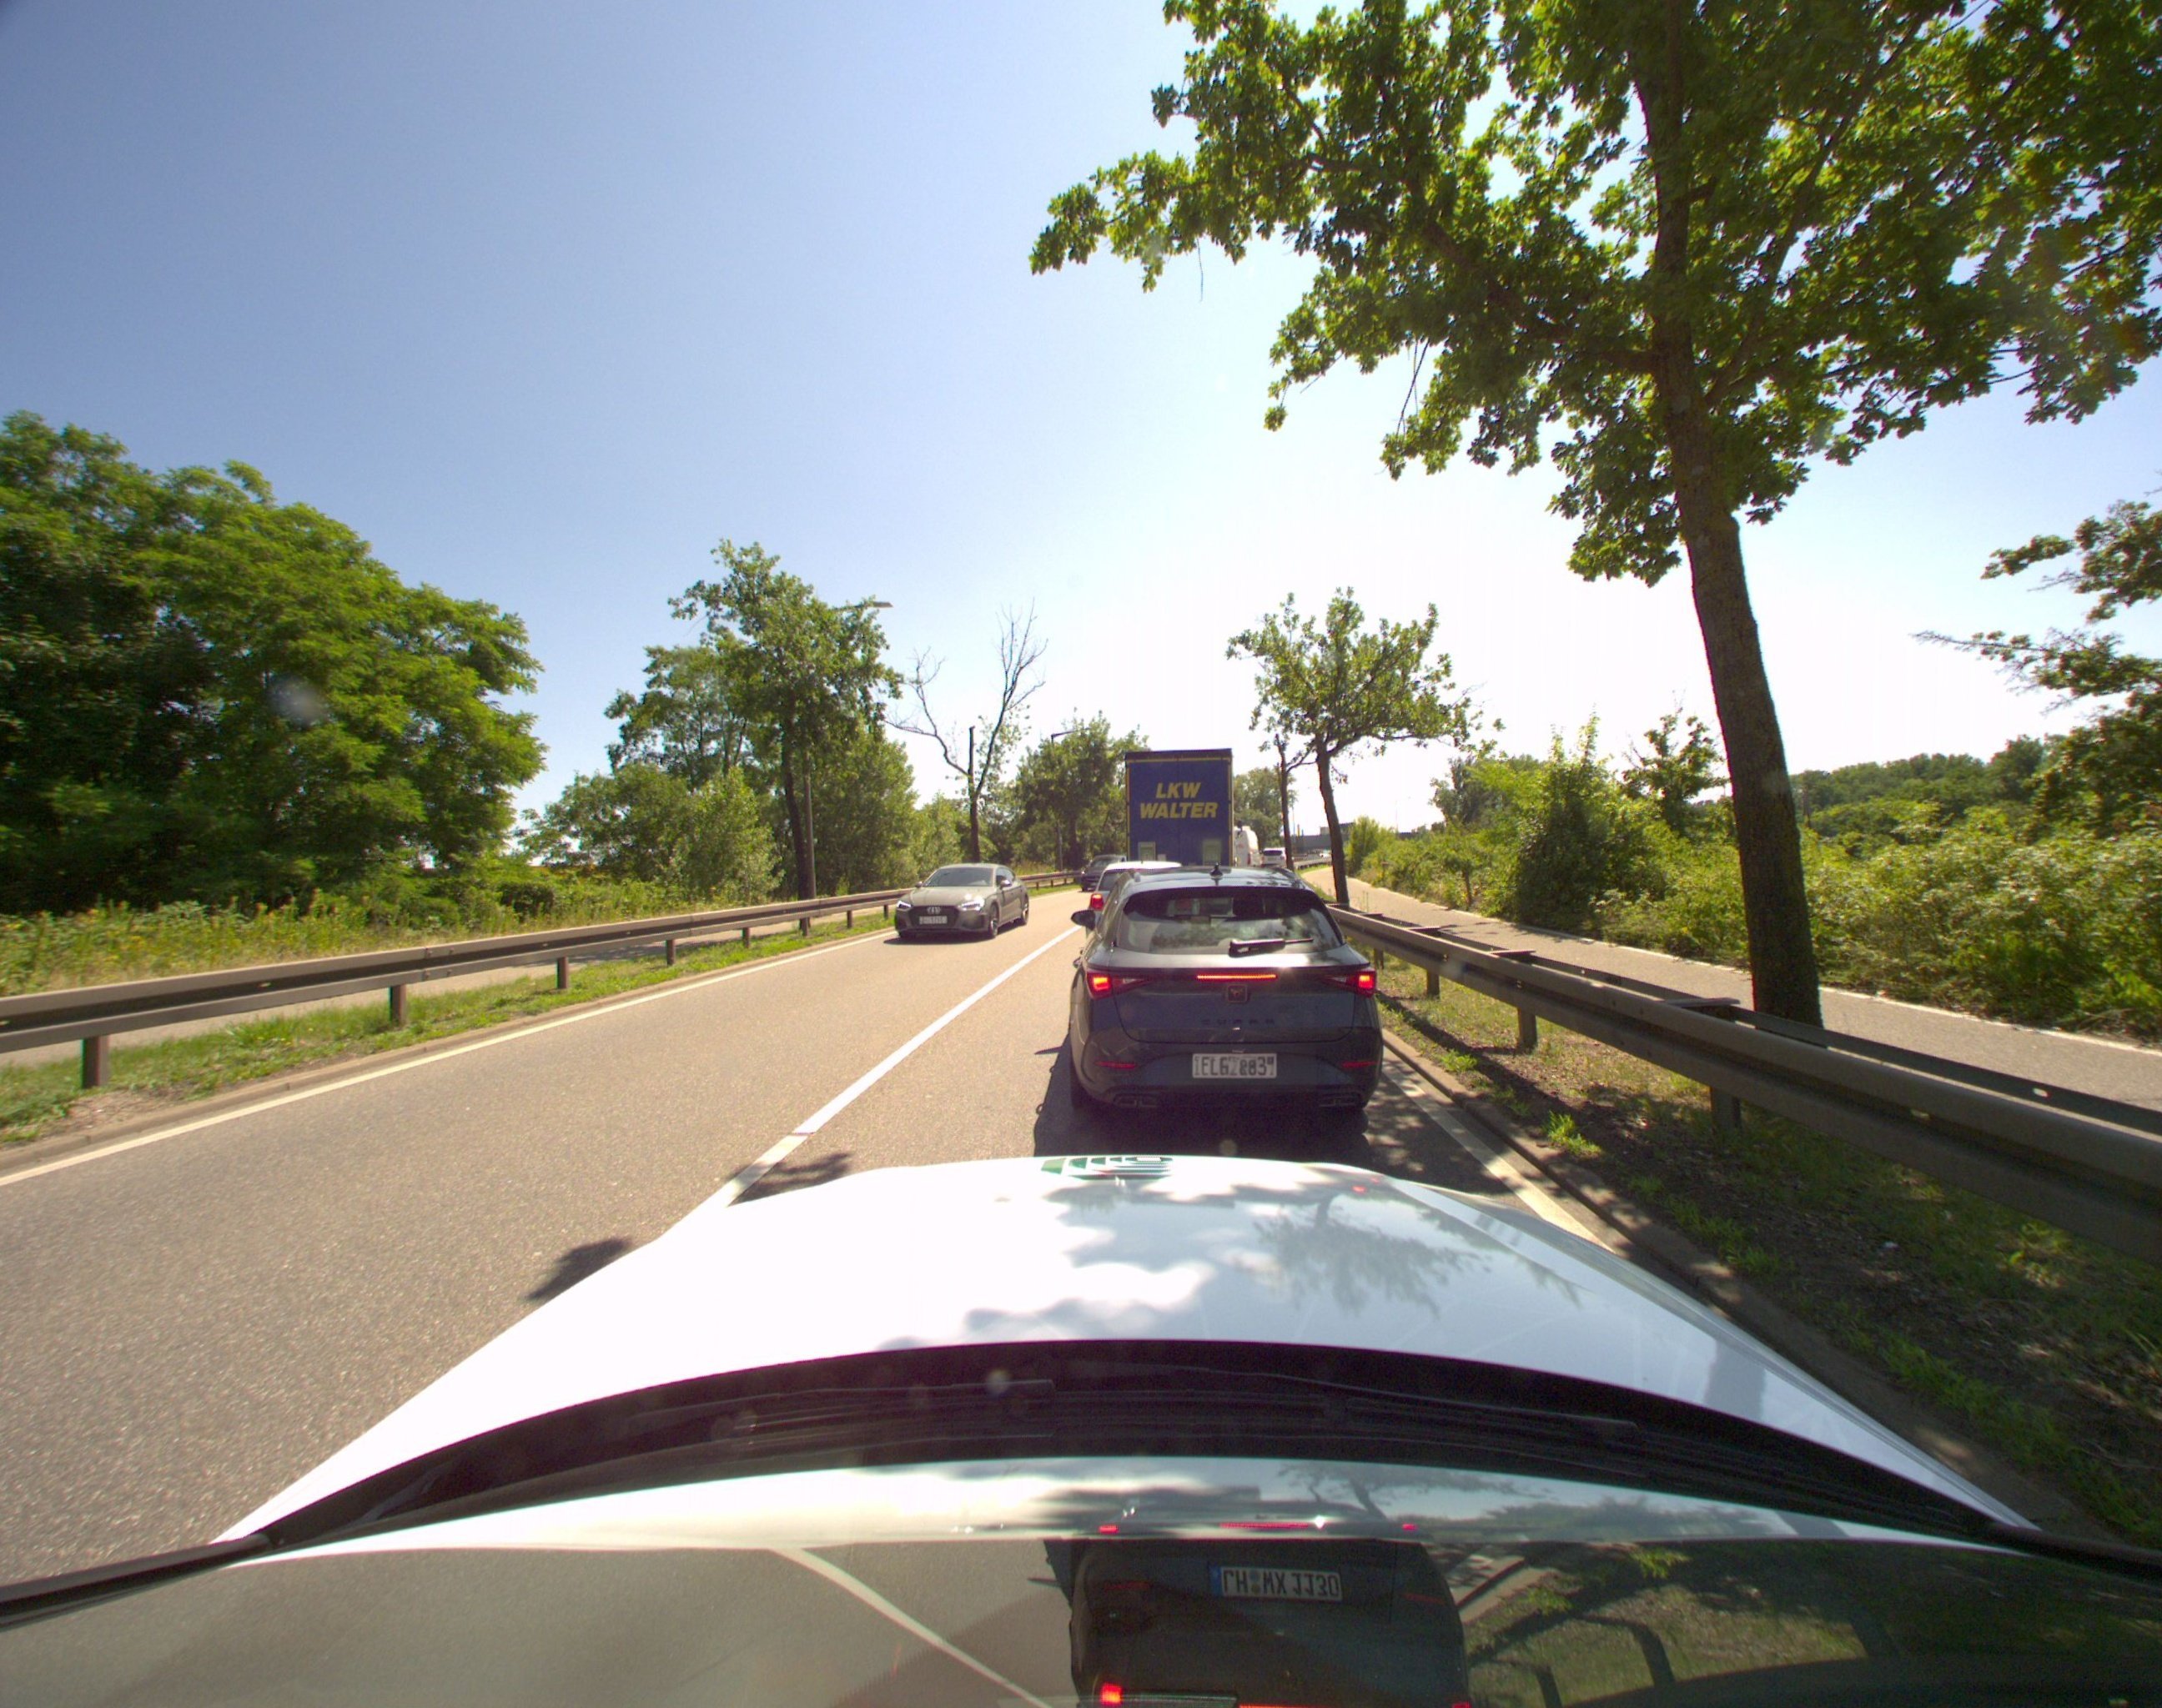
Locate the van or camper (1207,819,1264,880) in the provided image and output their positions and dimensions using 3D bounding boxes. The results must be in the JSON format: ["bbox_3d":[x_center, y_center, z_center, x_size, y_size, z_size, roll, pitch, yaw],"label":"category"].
[{"bbox_3d":[8.400,-0.210,43.866,2.448,2.998,6.112,-1,0,16],"label":"van or camper"}]

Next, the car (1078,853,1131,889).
[{"bbox_3d":[1.045,0.690,34.841,1.660,1.466,3.831,-1,0,11],"label":"car"}]

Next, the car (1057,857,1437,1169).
[{"bbox_3d":[0.839,0.748,5.713,1.737,1.432,3.882,-1,0,2],"label":"car"}]

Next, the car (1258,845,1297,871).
[{"bbox_3d":[13.565,0.280,56.022,1.976,1.712,4.644,-1,0,22],"label":"car"}]

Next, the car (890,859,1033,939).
[{"bbox_3d":[-2.267,0.814,16.723,1.749,1.396,4.415,-1,0,7],"label":"car"}]

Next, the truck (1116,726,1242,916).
[{"bbox_3d":[3.769,-0.738,27.563,2.931,4.449,16.845,-1,0,10],"label":"truck"}]

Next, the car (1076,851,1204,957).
[{"bbox_3d":[0.967,0.719,13.630,1.801,1.508,4.004,-1,0,4],"label":"car"}]

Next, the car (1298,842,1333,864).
[{"bbox_3d":[20.186,-0.091,69.928,1.975,1.808,4.874,-1,0,27],"label":"car"}]
